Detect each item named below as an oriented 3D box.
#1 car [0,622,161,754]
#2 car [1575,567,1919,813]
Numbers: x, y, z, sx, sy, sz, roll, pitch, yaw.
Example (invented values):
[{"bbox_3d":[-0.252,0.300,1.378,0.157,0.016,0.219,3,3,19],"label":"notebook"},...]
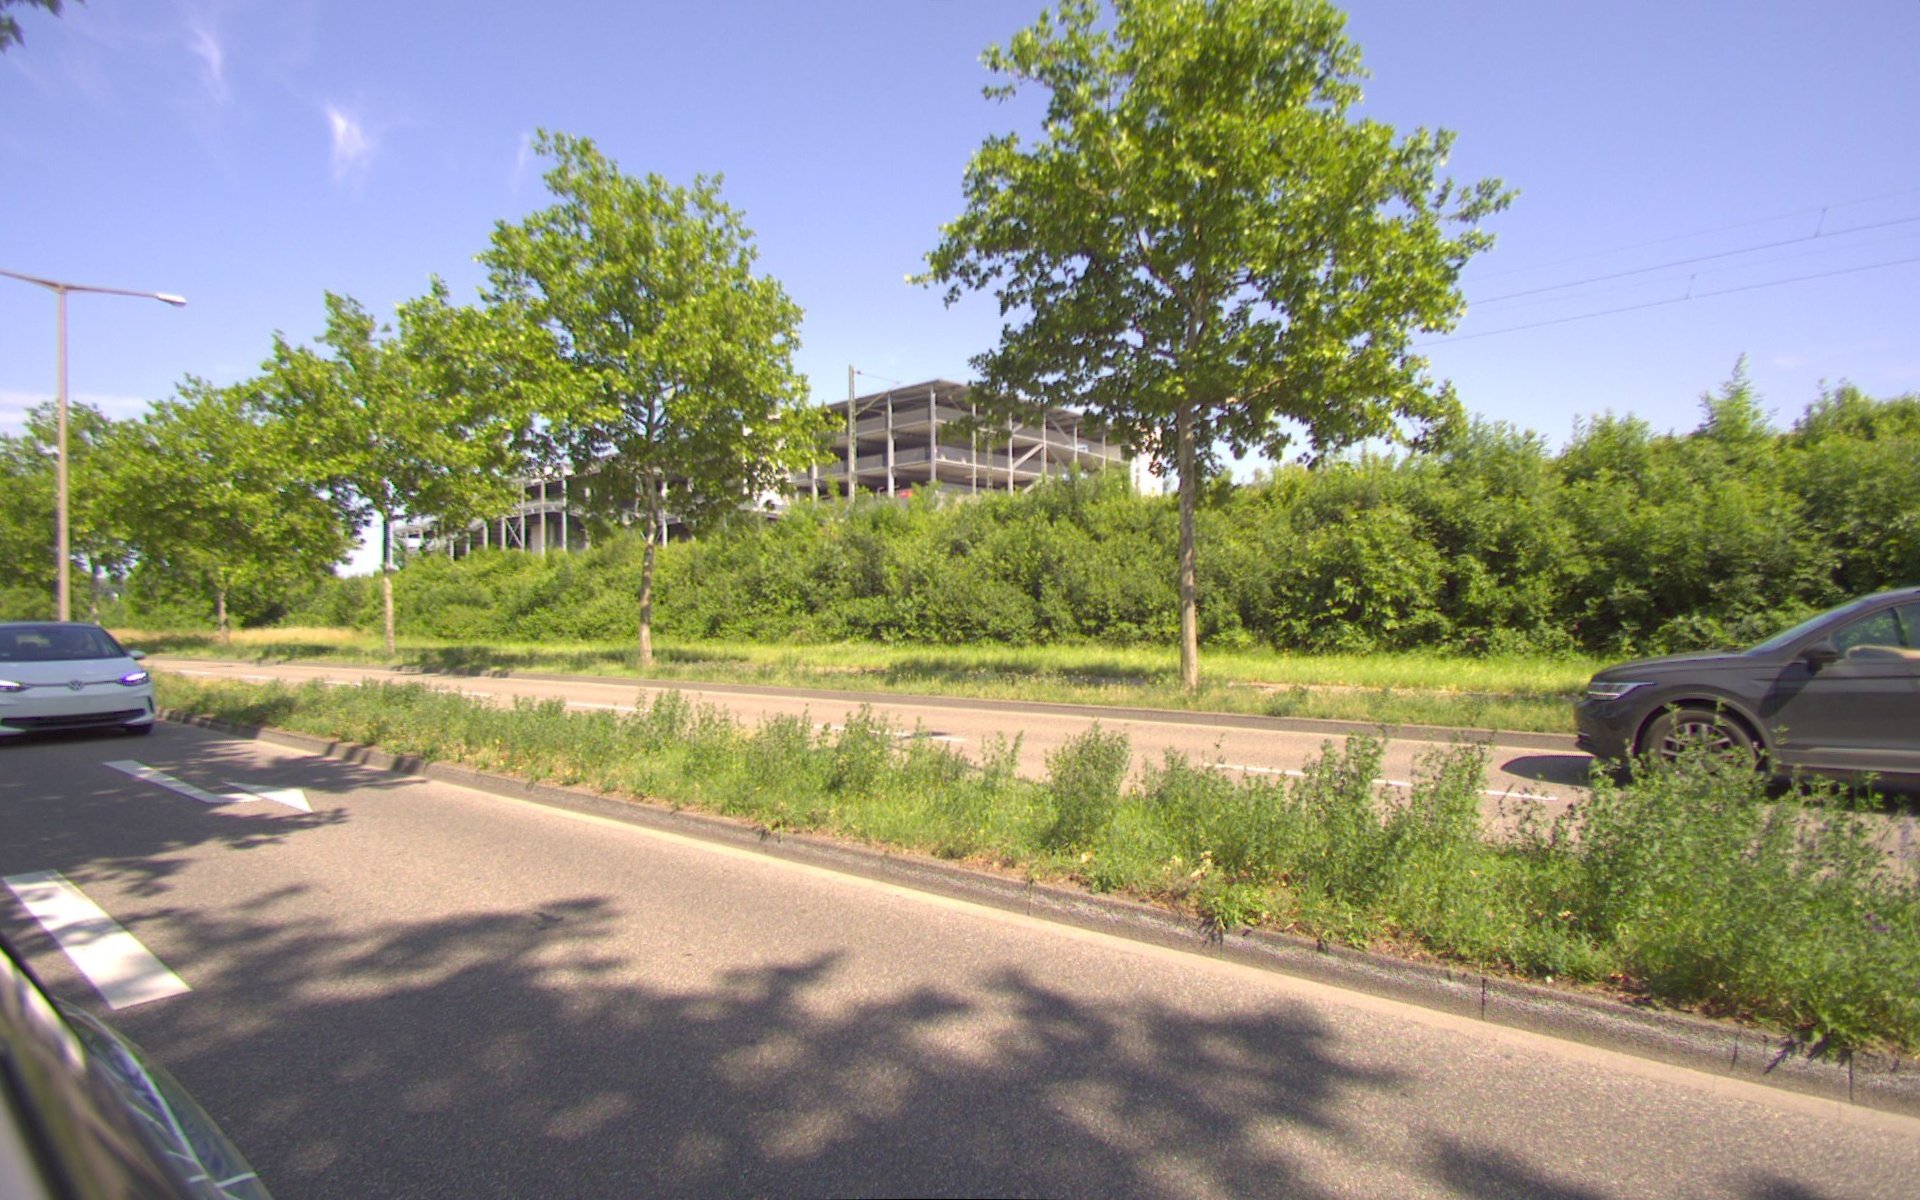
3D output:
[{"bbox_3d":[-12.591,1.099,13.806,4.204,1.533,1.801,-2,-1,39],"label":"car"},{"bbox_3d":[7.095,0.597,7.252,4.359,1.634,1.697,-1,-1,41],"label":"car"}]
